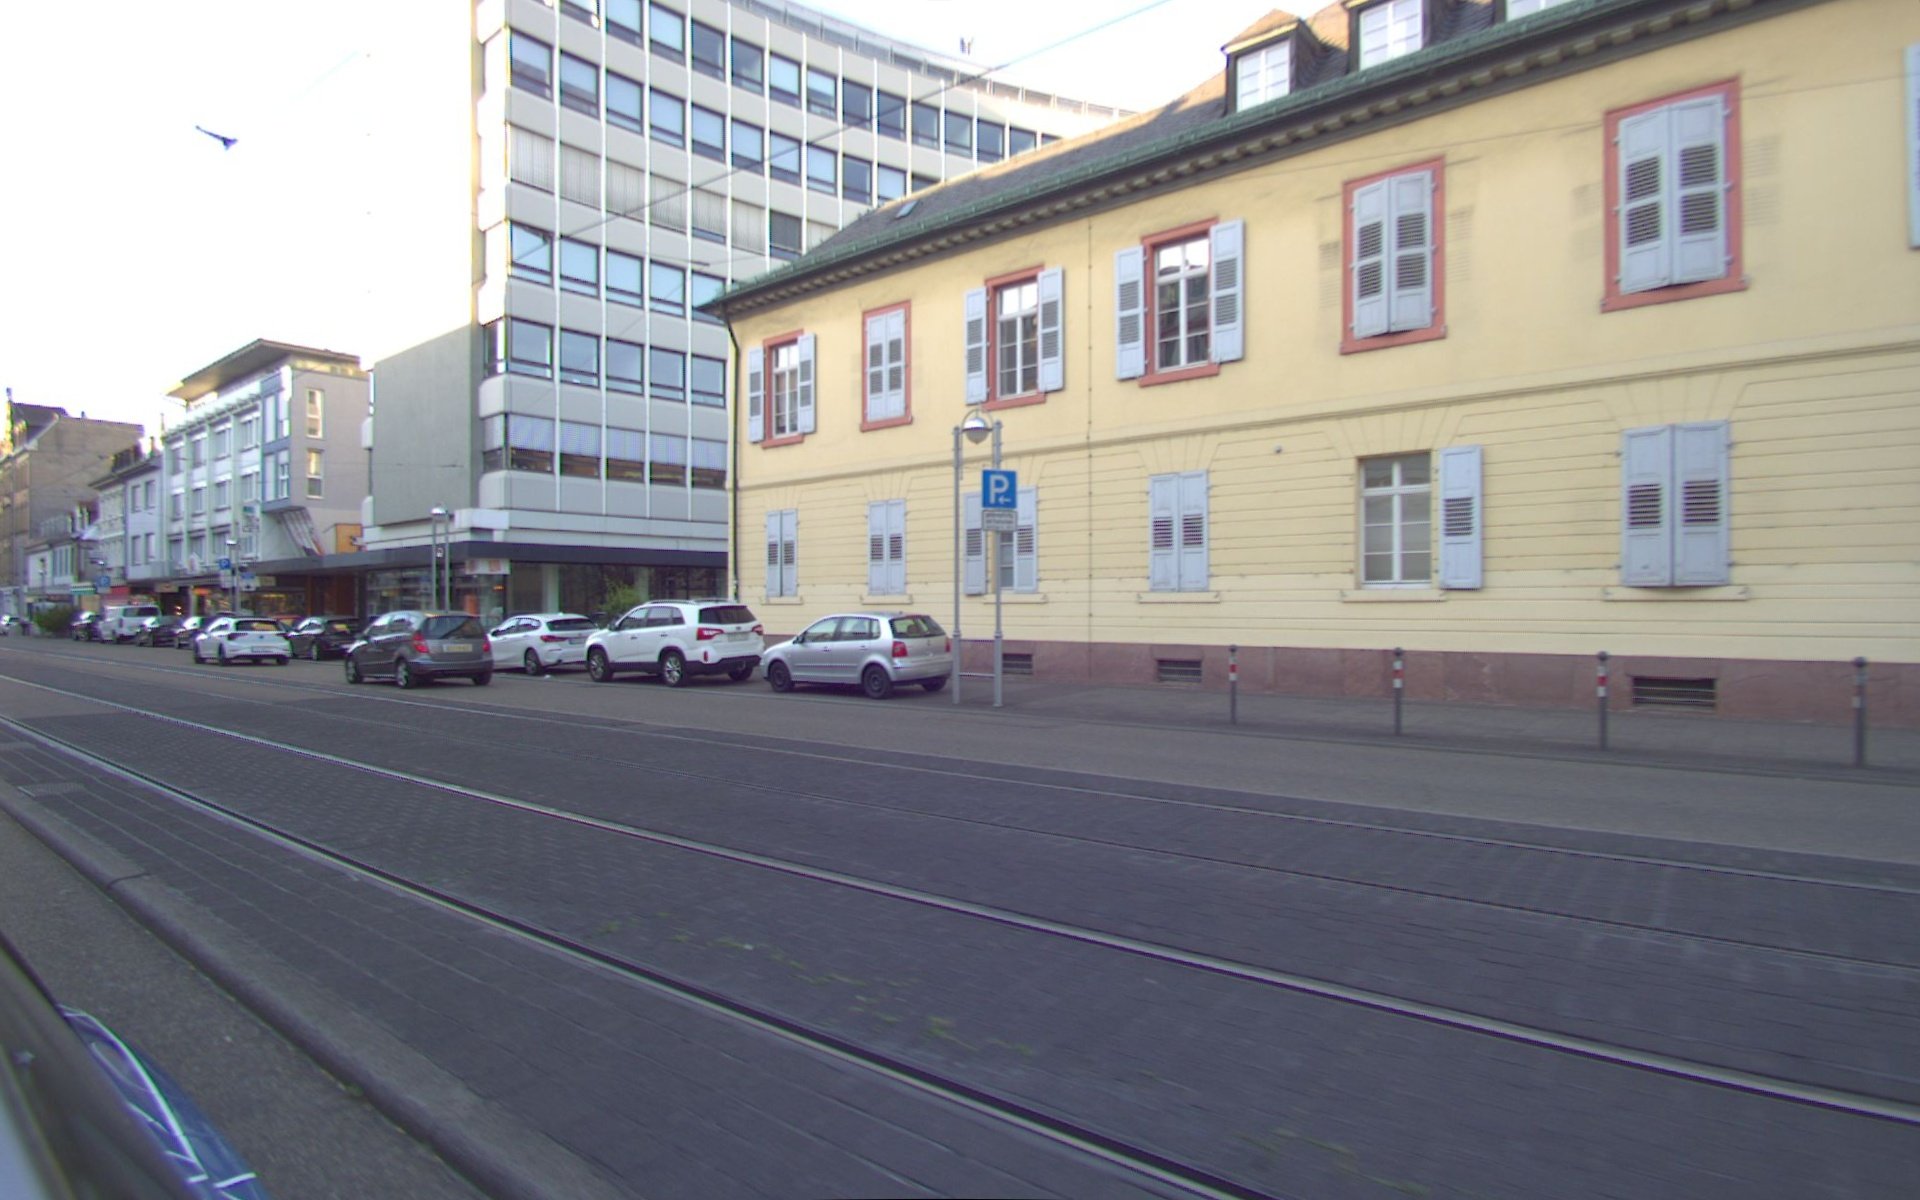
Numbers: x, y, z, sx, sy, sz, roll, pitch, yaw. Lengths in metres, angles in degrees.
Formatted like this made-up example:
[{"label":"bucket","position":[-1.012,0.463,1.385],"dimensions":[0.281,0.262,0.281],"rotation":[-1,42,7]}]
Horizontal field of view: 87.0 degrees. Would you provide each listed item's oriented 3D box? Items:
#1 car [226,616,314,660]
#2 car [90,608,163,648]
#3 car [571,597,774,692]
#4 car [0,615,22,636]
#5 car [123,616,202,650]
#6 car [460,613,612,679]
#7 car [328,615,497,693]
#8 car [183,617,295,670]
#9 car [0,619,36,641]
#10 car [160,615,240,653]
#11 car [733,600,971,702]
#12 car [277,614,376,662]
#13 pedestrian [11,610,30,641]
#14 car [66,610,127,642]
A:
[{"label":"car","position":[-25.784,1.388,37.754],"dimensions":[4.211,1.523,1.668],"rotation":[-1,-1,40]},{"label":"car","position":[-43.605,1.434,52.924],"dimensions":[5.157,1.992,1.936],"rotation":[-1,-2,39]},{"label":"car","position":[-6.148,0.875,21.382],"dimensions":[4.490,1.799,1.795],"rotation":[-1,0,38]},{"label":"car","position":[-74.518,1.993,78.622],"dimensions":[4.548,1.556,1.890],"rotation":[-1,-1,40]},{"label":"car","position":[-37.872,1.547,48.025],"dimensions":[4.553,1.477,1.974],"rotation":[-1,0,39]},{"label":"car","position":[-10.727,1.099,25.464],"dimensions":[4.430,1.523,1.793],"rotation":[-1,-2,42]},{"label":"car","position":[-11.748,1.088,21.641],"dimensions":[4.029,1.523,1.719],"rotation":[-1,-1,38]},{"label":"car","position":[-22.013,1.282,30.863],"dimensions":[4.031,1.523,1.788],"rotation":[-1,-2,39]},{"label":"car","position":[-70.181,2.198,74.972],"dimensions":[4.875,1.556,1.973],"rotation":[-1,0,40]},{"label":"car","position":[-32.843,1.447,43.706],"dimensions":[4.440,1.523,1.669],"rotation":[-1,1,39]},{"label":"car","position":[-2.020,0.858,18.265],"dimensions":[4.208,1.629,1.795],"rotation":[-1,-1,37]},{"label":"car","position":[-21.557,1.259,34.380],"dimensions":[4.211,1.523,1.669],"rotation":[-1,0,40]},{"label":"pedestrian","position":[-63.374,1.717,68.279],"dimensions":[0.811,2.029,0.714],"rotation":[1,-2,-35]},{"label":"car","position":[-49.356,1.487,57.830],"dimensions":[4.522,1.734,1.840],"rotation":[-1,-1,39]}]
